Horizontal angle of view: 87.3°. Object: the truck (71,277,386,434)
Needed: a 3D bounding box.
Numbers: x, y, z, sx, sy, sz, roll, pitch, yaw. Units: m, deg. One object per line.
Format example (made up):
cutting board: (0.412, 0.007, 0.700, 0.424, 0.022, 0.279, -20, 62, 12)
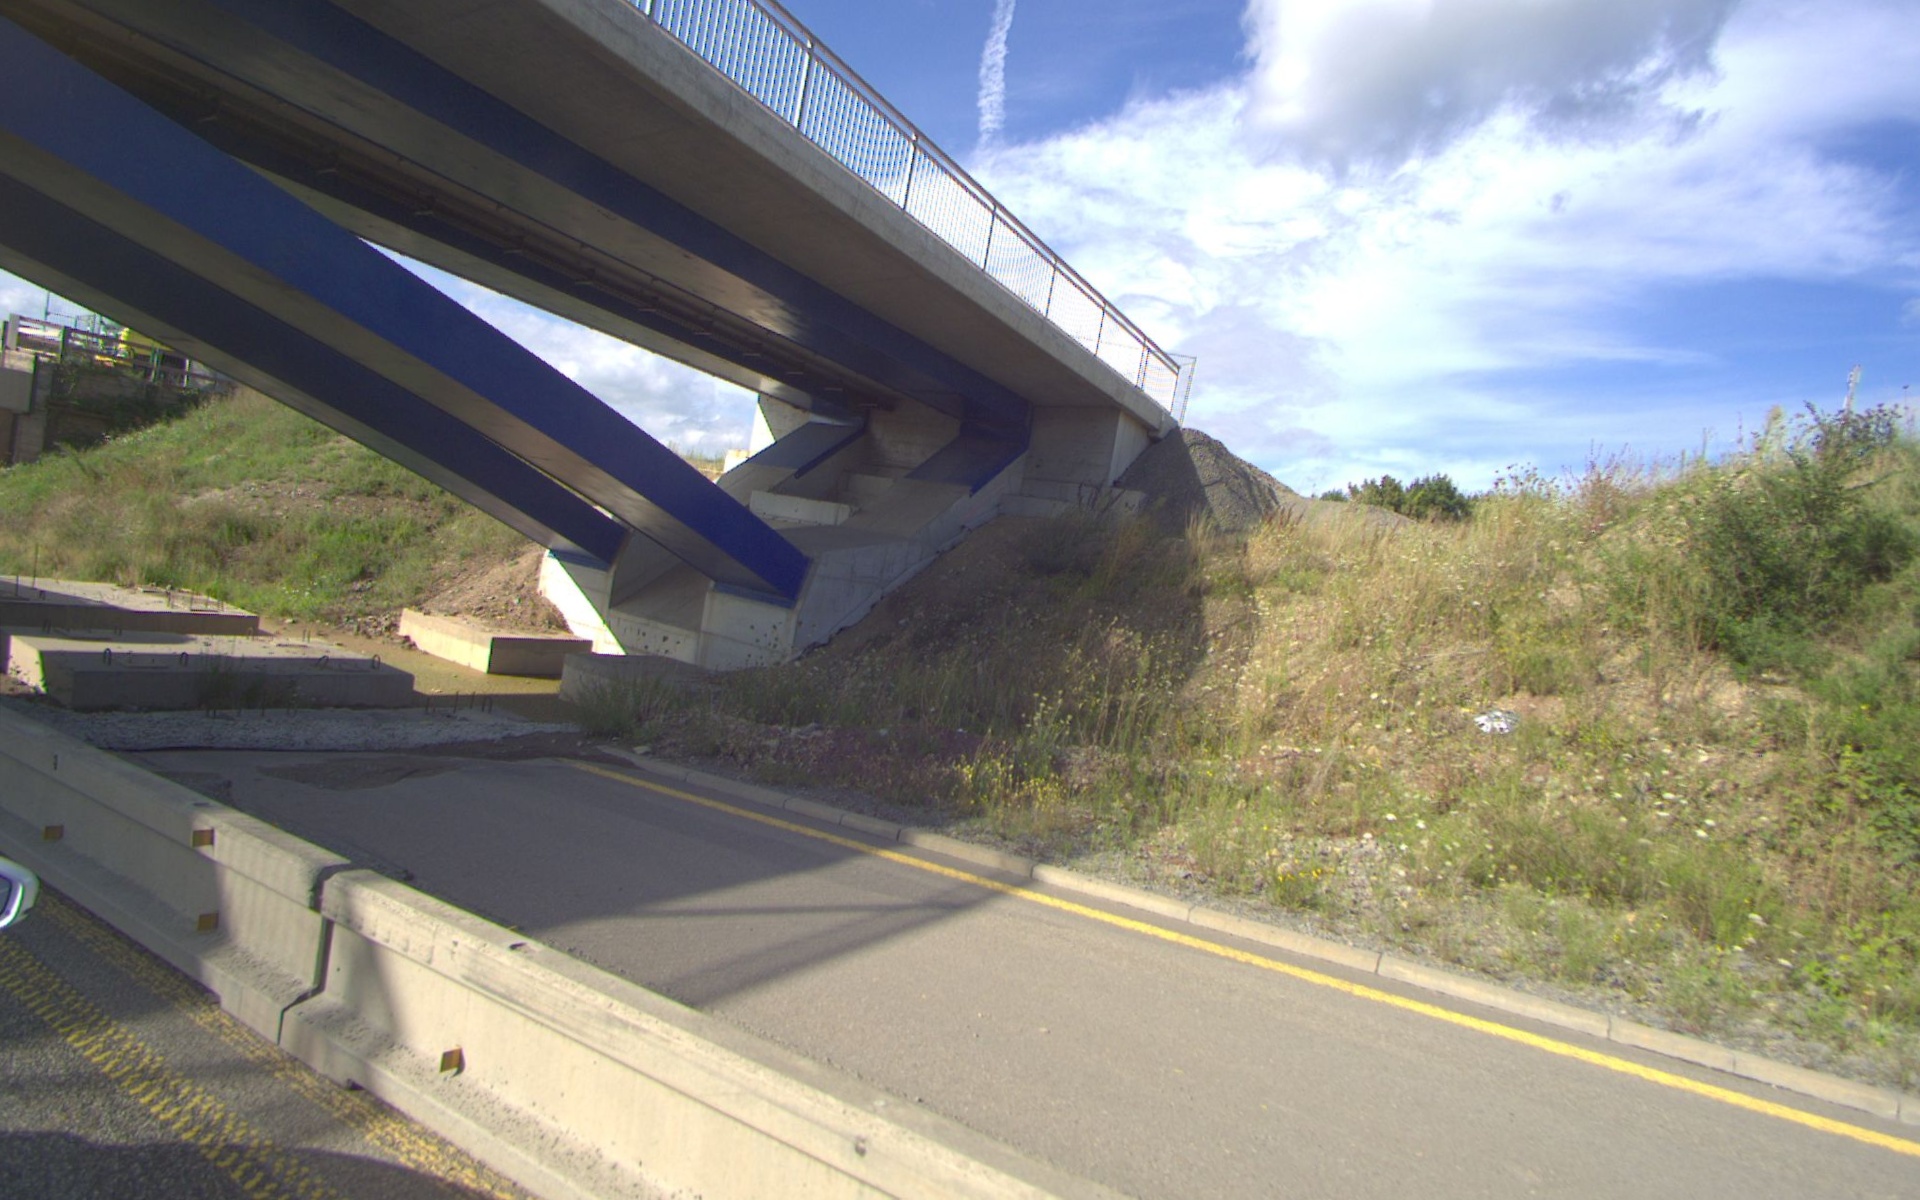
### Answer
truck: (-27.868, -9.140, 39.010, 2.910, 3.266, 9.279, 7, -1, 31)
